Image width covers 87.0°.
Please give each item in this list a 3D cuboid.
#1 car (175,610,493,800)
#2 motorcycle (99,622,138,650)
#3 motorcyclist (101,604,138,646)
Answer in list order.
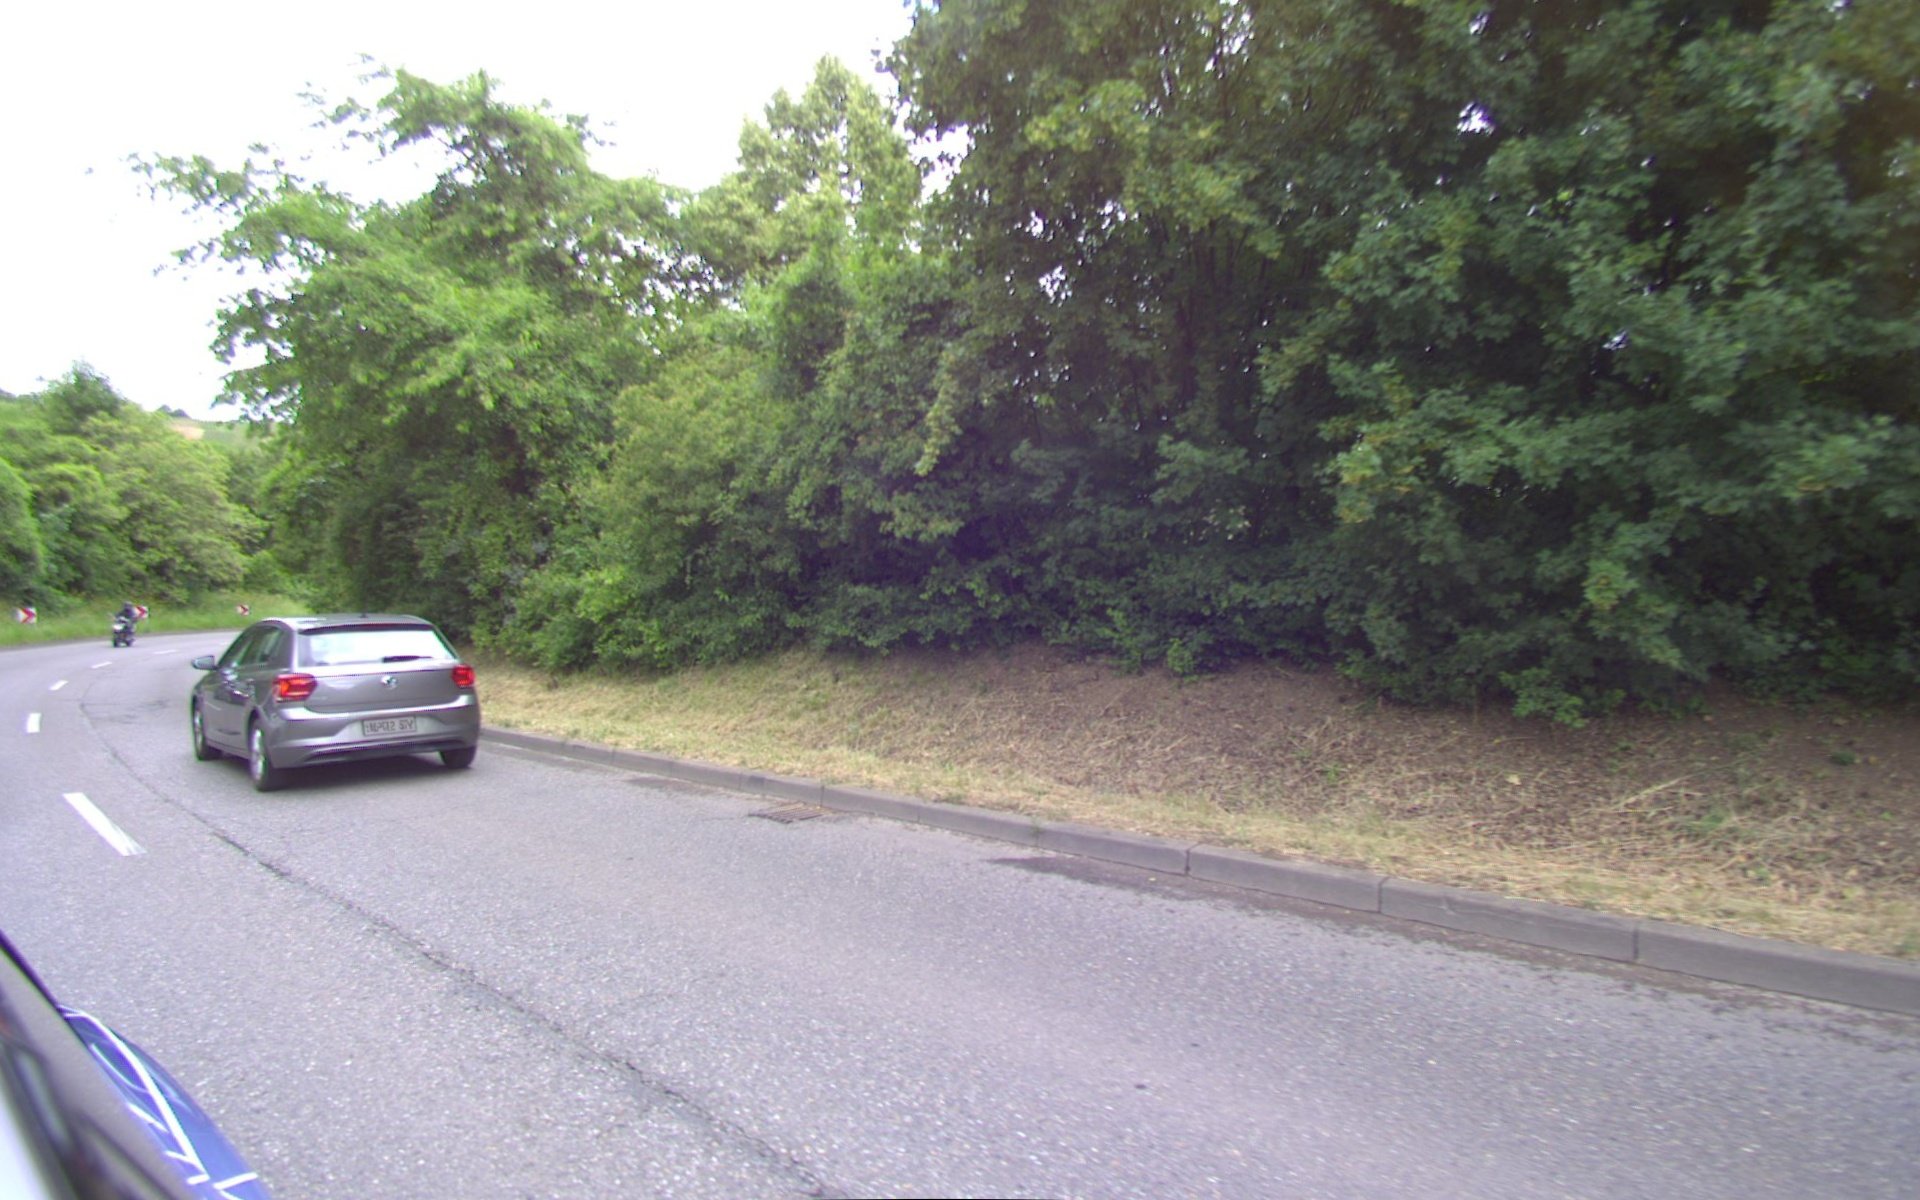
[{"bbox_3d":[-5.944,0.818,9.453,3.596,1.416,1.616,-1,-1,42],"label":"car"},{"bbox_3d":[-31.019,1.320,37.328,0.691,0.983,1.700,3,-2,-27],"label":"motorcycle"},{"bbox_3d":[-30.981,0.920,37.323,0.805,1.477,0.789,3,-2,-25],"label":"motorcyclist"}]
